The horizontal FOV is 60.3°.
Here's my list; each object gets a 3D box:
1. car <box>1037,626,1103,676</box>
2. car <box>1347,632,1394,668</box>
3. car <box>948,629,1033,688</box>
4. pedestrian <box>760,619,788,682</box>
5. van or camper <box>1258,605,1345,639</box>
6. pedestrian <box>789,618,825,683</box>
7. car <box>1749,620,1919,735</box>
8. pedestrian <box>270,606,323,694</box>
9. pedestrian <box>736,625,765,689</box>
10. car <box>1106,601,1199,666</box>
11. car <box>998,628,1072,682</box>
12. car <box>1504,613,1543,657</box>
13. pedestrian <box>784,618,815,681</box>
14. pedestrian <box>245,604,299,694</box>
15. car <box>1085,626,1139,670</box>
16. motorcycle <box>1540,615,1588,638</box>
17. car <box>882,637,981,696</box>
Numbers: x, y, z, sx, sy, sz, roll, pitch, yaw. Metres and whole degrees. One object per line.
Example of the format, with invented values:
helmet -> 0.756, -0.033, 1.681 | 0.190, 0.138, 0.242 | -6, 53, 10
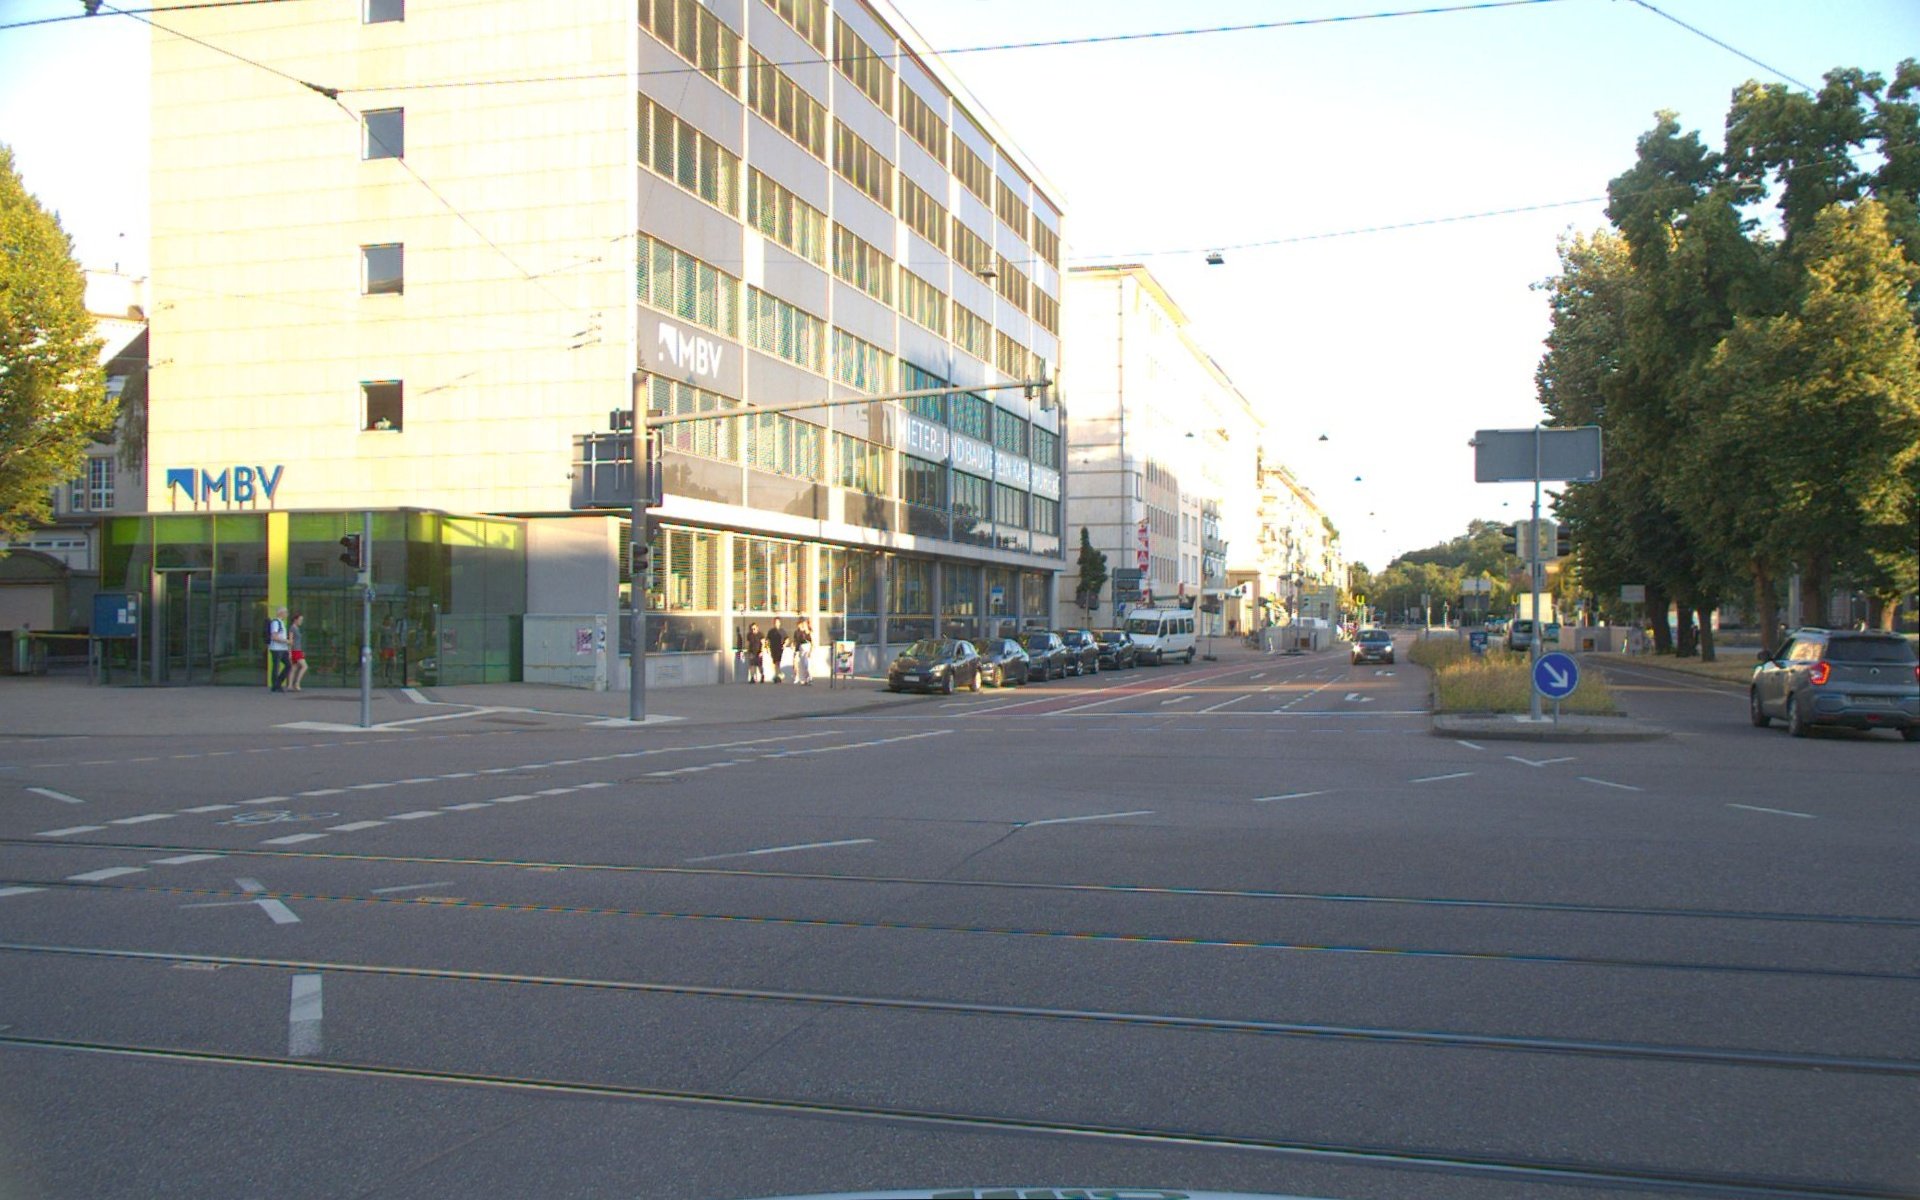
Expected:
car -> 4.193, 1.896, 62.441 | 1.657, 1.694, 3.870 | 3, 0, 16
car -> 17.354, 2.088, 69.755 | 1.657, 1.446, 4.175 | -1, -1, 17
car -> 0.999, 1.805, 52.065 | 1.657, 1.694, 3.870 | 3, 0, 16
pedestrian -> -5.328, 1.442, 47.348 | 0.639, 1.799, 0.646 | 0, -1, 12
van or camper -> 23.649, 1.517, 114.653 | 5.414, 2.205, 2.236 | -1, -1, -14
pedestrian -> -4.285, 1.421, 46.370 | 0.823, 1.799, 0.786 | 0, -1, 12
car -> 13.580, 1.133, 25.644 | 1.657, 1.633, 4.092 | -1, -1, 15
pedestrian -> -13.771, 1.033, 34.337 | 0.728, 1.799, 0.709 | -1, -1, 17
pedestrian -> -5.901, 1.605, 46.613 | 0.639, 1.799, 0.646 | 0, -1, 12
car -> 8.717, 1.527, 74.365 | 2.194, 2.674, 5.846 | 4, 0, 27
car -> 2.625, 1.864, 57.186 | 1.657, 1.694, 3.870 | 3, 0, 16
car -> 29.732, 1.830, 87.305 | 1.844, 2.277, 3.912 | -1, -1, 18
pedestrian -> -4.579, 1.411, 47.294 | 0.723, 1.799, 0.673 | 0, -1, 12
pedestrian -> -14.005, 0.987, 33.661 | 0.717, 1.799, 0.709 | -1, -1, 17
car -> 6.301, 1.948, 68.131 | 1.467, 1.694, 3.870 | 3, 0, 16
motorcycle -> 46.514, 2.034, 127.425 | 3.414, 1.785, 0.926 | -1, -1, 20
car -> -0.744, 1.831, 46.374 | 1.657, 1.435, 3.870 | 3, 0, 16
